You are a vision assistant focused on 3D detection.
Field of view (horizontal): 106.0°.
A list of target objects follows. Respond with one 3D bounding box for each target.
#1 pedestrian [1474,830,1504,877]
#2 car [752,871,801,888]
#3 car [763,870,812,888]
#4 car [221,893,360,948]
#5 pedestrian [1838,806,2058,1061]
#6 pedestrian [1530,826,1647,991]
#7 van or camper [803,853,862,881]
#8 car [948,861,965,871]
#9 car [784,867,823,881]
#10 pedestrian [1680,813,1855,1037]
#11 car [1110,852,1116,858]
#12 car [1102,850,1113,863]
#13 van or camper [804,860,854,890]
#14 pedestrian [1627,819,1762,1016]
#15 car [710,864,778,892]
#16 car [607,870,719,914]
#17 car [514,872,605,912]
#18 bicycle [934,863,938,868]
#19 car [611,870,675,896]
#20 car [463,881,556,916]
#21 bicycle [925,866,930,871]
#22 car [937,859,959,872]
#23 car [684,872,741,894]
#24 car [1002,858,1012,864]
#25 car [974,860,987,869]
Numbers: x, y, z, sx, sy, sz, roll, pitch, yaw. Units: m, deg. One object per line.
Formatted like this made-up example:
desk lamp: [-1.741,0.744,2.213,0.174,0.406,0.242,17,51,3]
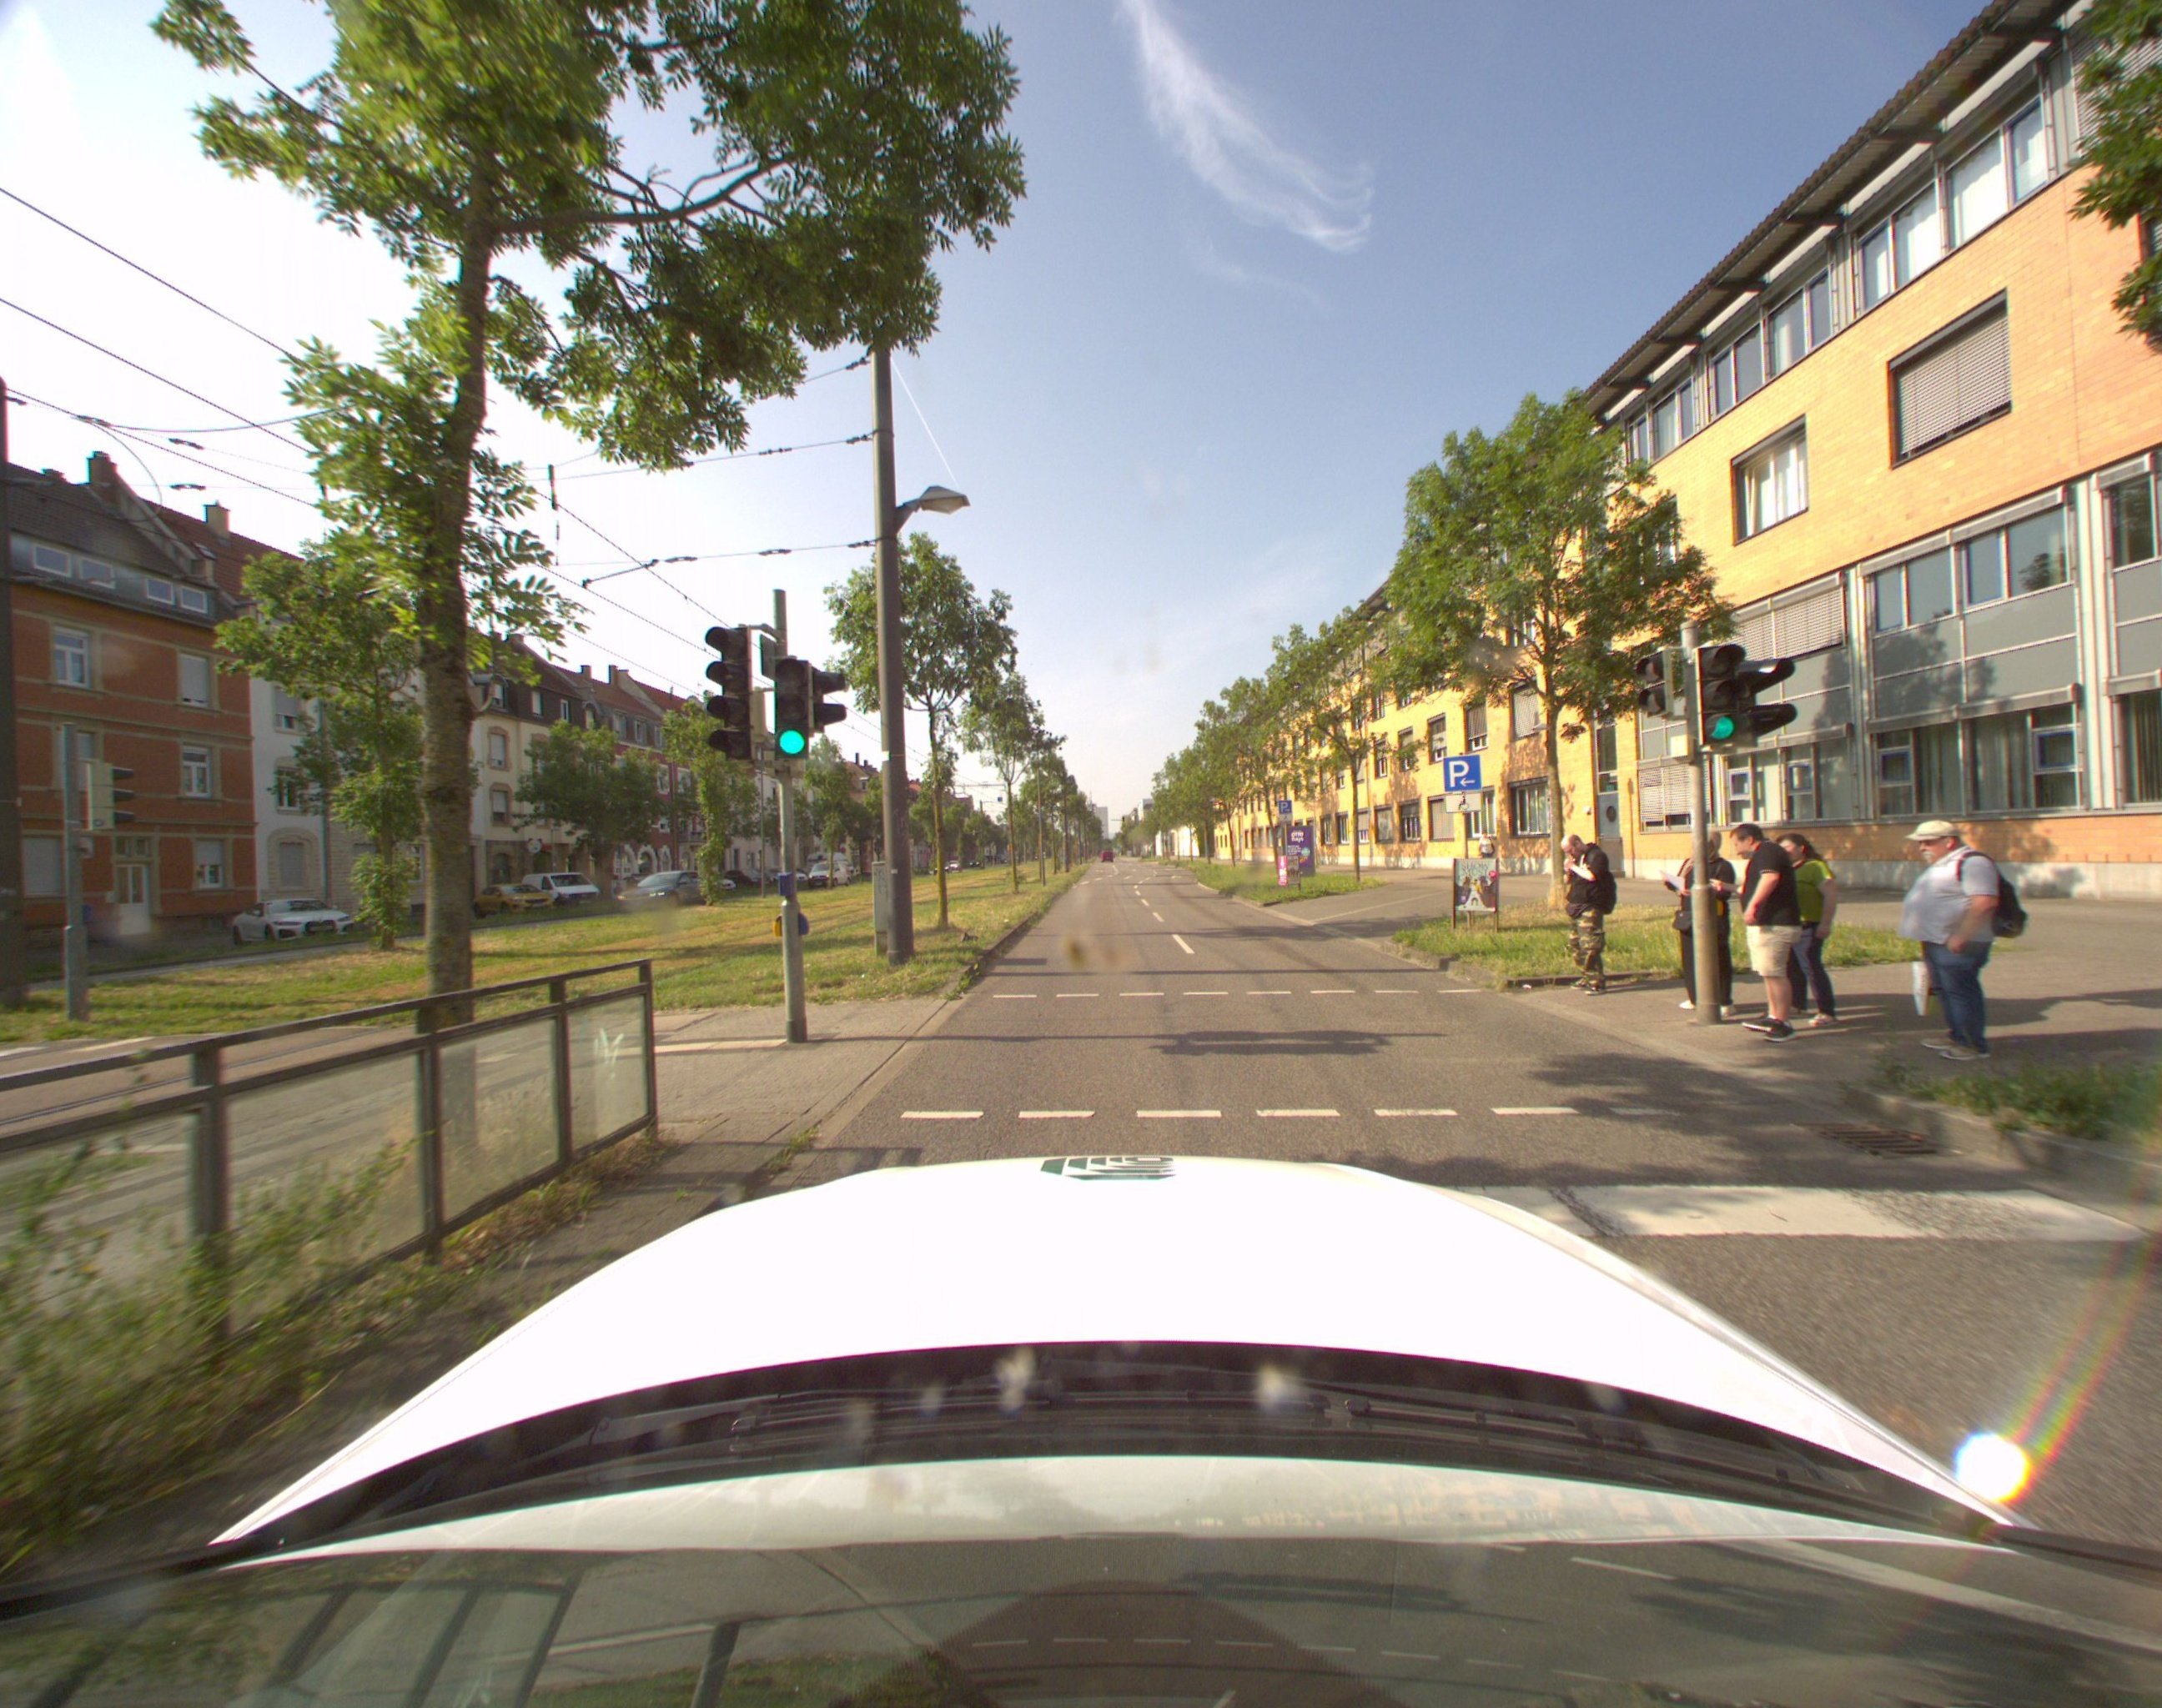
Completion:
pedestrian: [14.645,-0.001,29.253,0.693,1.656,0.773,0,-1,1]
car: [-22.829,1.894,60.970,3.639,1.241,1.673,-1,-1,36]
car: [-23.038,1.924,63.940,3.963,1.316,1.673,-1,-1,36]
car: [-24.827,2.053,25.542,4.716,1.485,2.036,-3,-2,32]
pedestrian: [6.068,0.527,5.741,0.703,1.647,0.689,-4,-1,-1]
pedestrian: [5.375,0.557,8.671,0.703,1.647,0.689,-4,-1,-1]
van or camper: [-23.768,1.209,77.778,5.849,2.573,2.213,-1,-1,36]
car: [-18.555,1.790,121.707,1.942,1.459,4.646,0,-1,-1]
car: [-24.315,1.743,71.315,3.640,1.241,1.672,-1,-1,42]
pedestrian: [5.443,0.536,6.504,0.703,1.647,0.689,-4,-1,-1]
car: [8.817,0.195,222.477,1.741,1.650,3.217,0,-1,2]
car: [4.309,0.453,132.392,1.741,2.014,3.217,0,-1,2]
van or camper: [-18.331,1.482,59.532,1.945,2.097,5.353,0,-1,1]
pedestrian: [5.476,0.543,7.297,0.633,1.647,0.608,-4,-1,-3]
car: [-23.939,1.735,57.805,4.589,1.743,1.845,-3,0,27]
car: [-15.937,1.410,31.351,1.828,1.533,4.578,0,-1,1]
car: [-24.400,1.708,38.047,4.888,1.726,1.869,-1,-1,36]
bicycle: [-26.391,2.153,148.097,0.446,0.857,1.947,0,-1,0]
car: [-23.866,1.545,44.328,3.639,1.241,1.536,-1,2,35]
car: [-24.850,1.901,35.379,4.639,1.348,1.869,-1,-1,36]
bicycle: [-26.573,2.476,140.777,0.436,0.789,1.947,0,-1,0]
car: [-17.217,1.497,105.767,1.988,1.630,5.377,0,-1,-1]
car: [-23.109,1.795,51.024,3.639,1.241,1.673,-1,-1,36]
car: [-16.797,1.550,184.388,1.806,1.433,3.926,0,-1,1]
car: [-18.159,1.856,146.996,1.758,1.655,4.001,0,-1,1]
